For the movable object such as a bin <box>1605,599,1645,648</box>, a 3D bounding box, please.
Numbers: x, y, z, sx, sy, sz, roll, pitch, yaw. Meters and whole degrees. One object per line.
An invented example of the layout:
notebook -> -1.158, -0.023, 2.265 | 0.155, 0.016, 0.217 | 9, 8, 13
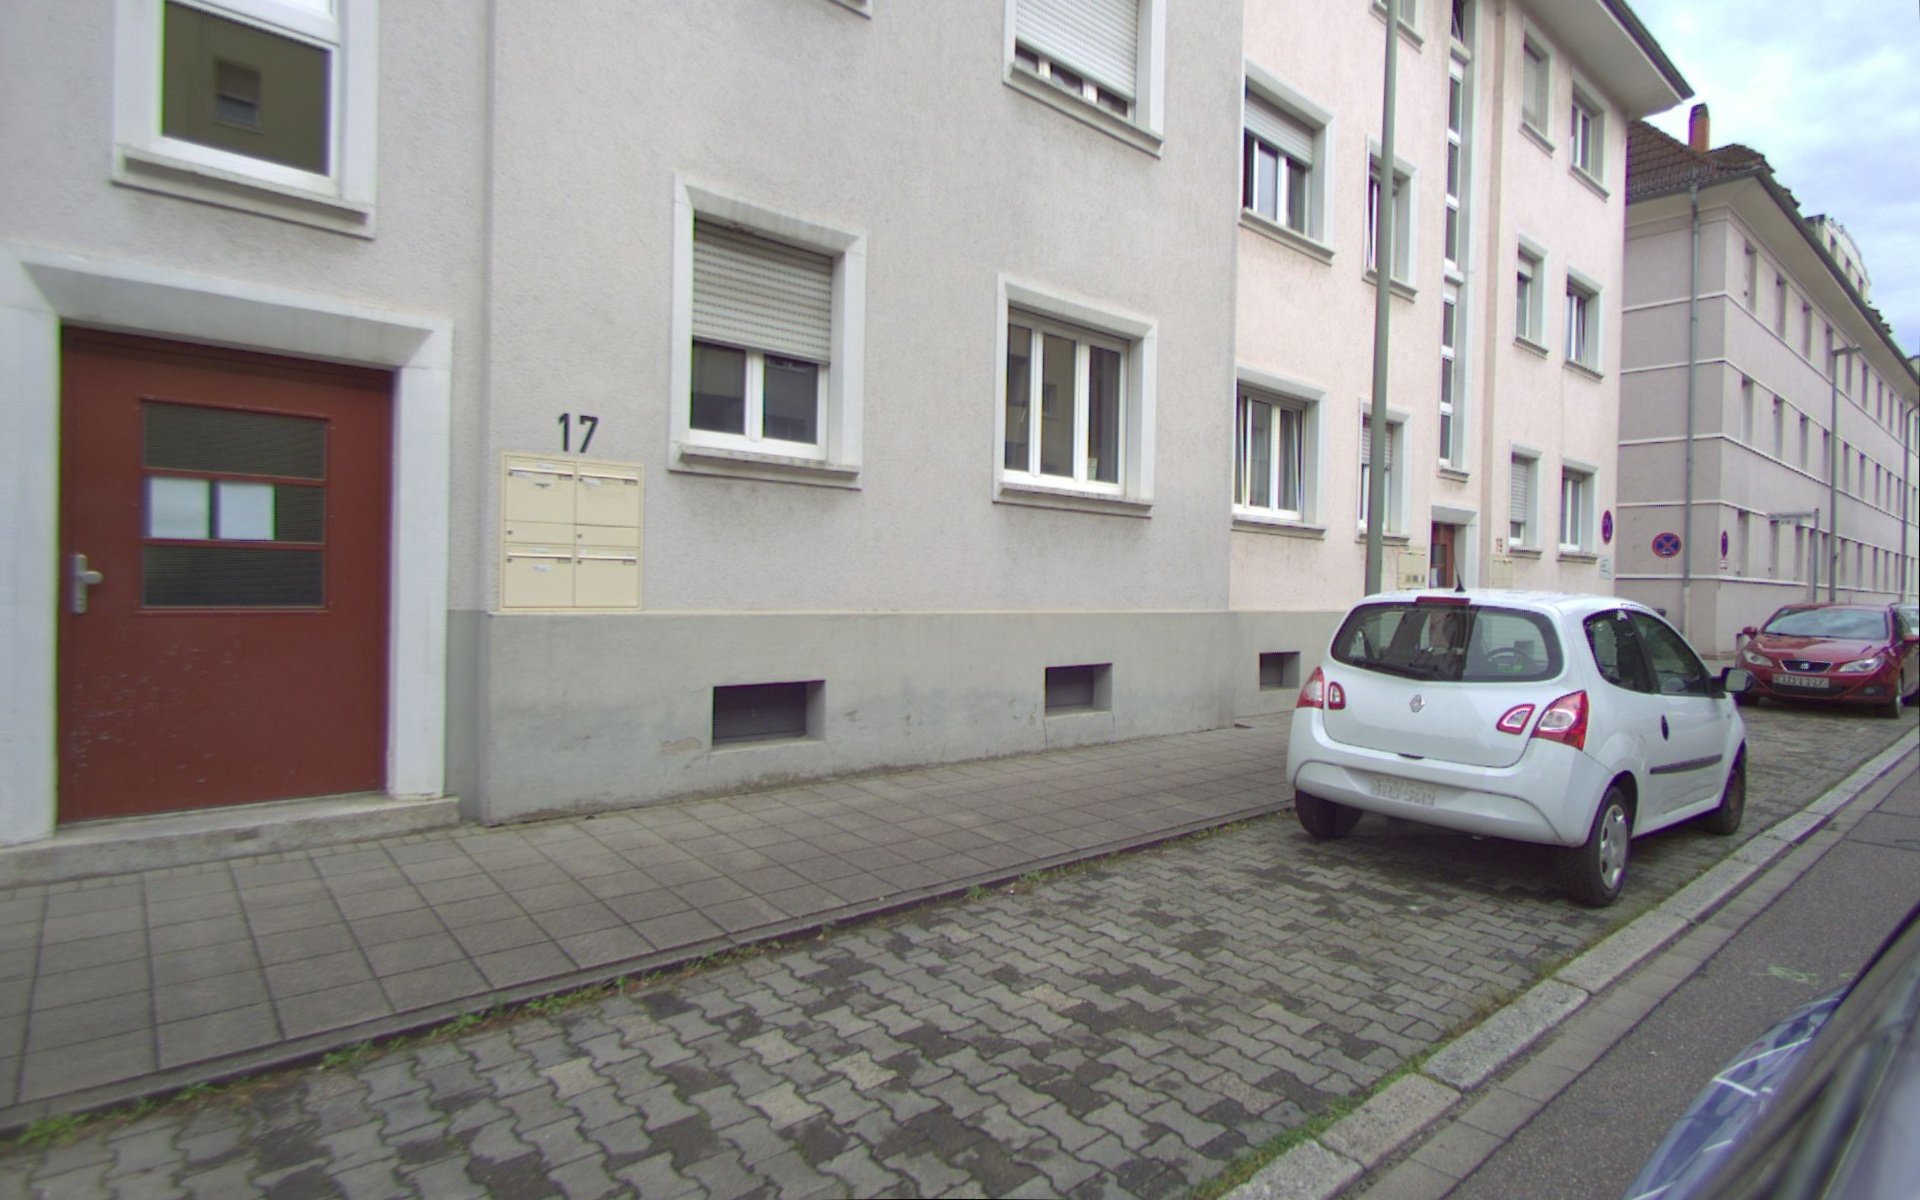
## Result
movable object such as a bin -> 14.812, 0.510, 22.550 | 0.692, 1.055, 0.550 | 0, 1, -38

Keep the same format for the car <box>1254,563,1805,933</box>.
car -> 3.693, 0.630, 6.320 | 3.737, 1.619, 1.787 | 0, 1, -40

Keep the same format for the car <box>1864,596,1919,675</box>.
car -> 19.739, 0.682, 20.376 | 3.969, 1.482, 1.791 | 0, 1, -41

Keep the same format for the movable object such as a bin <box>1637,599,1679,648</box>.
movable object such as a bin -> 15.315, 0.509, 22.204 | 0.692, 1.055, 0.550 | 0, 1, -38

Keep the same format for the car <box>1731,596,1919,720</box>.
car -> 12.151, 0.685, 13.886 | 3.867, 1.427, 1.757 | 0, 1, -41
